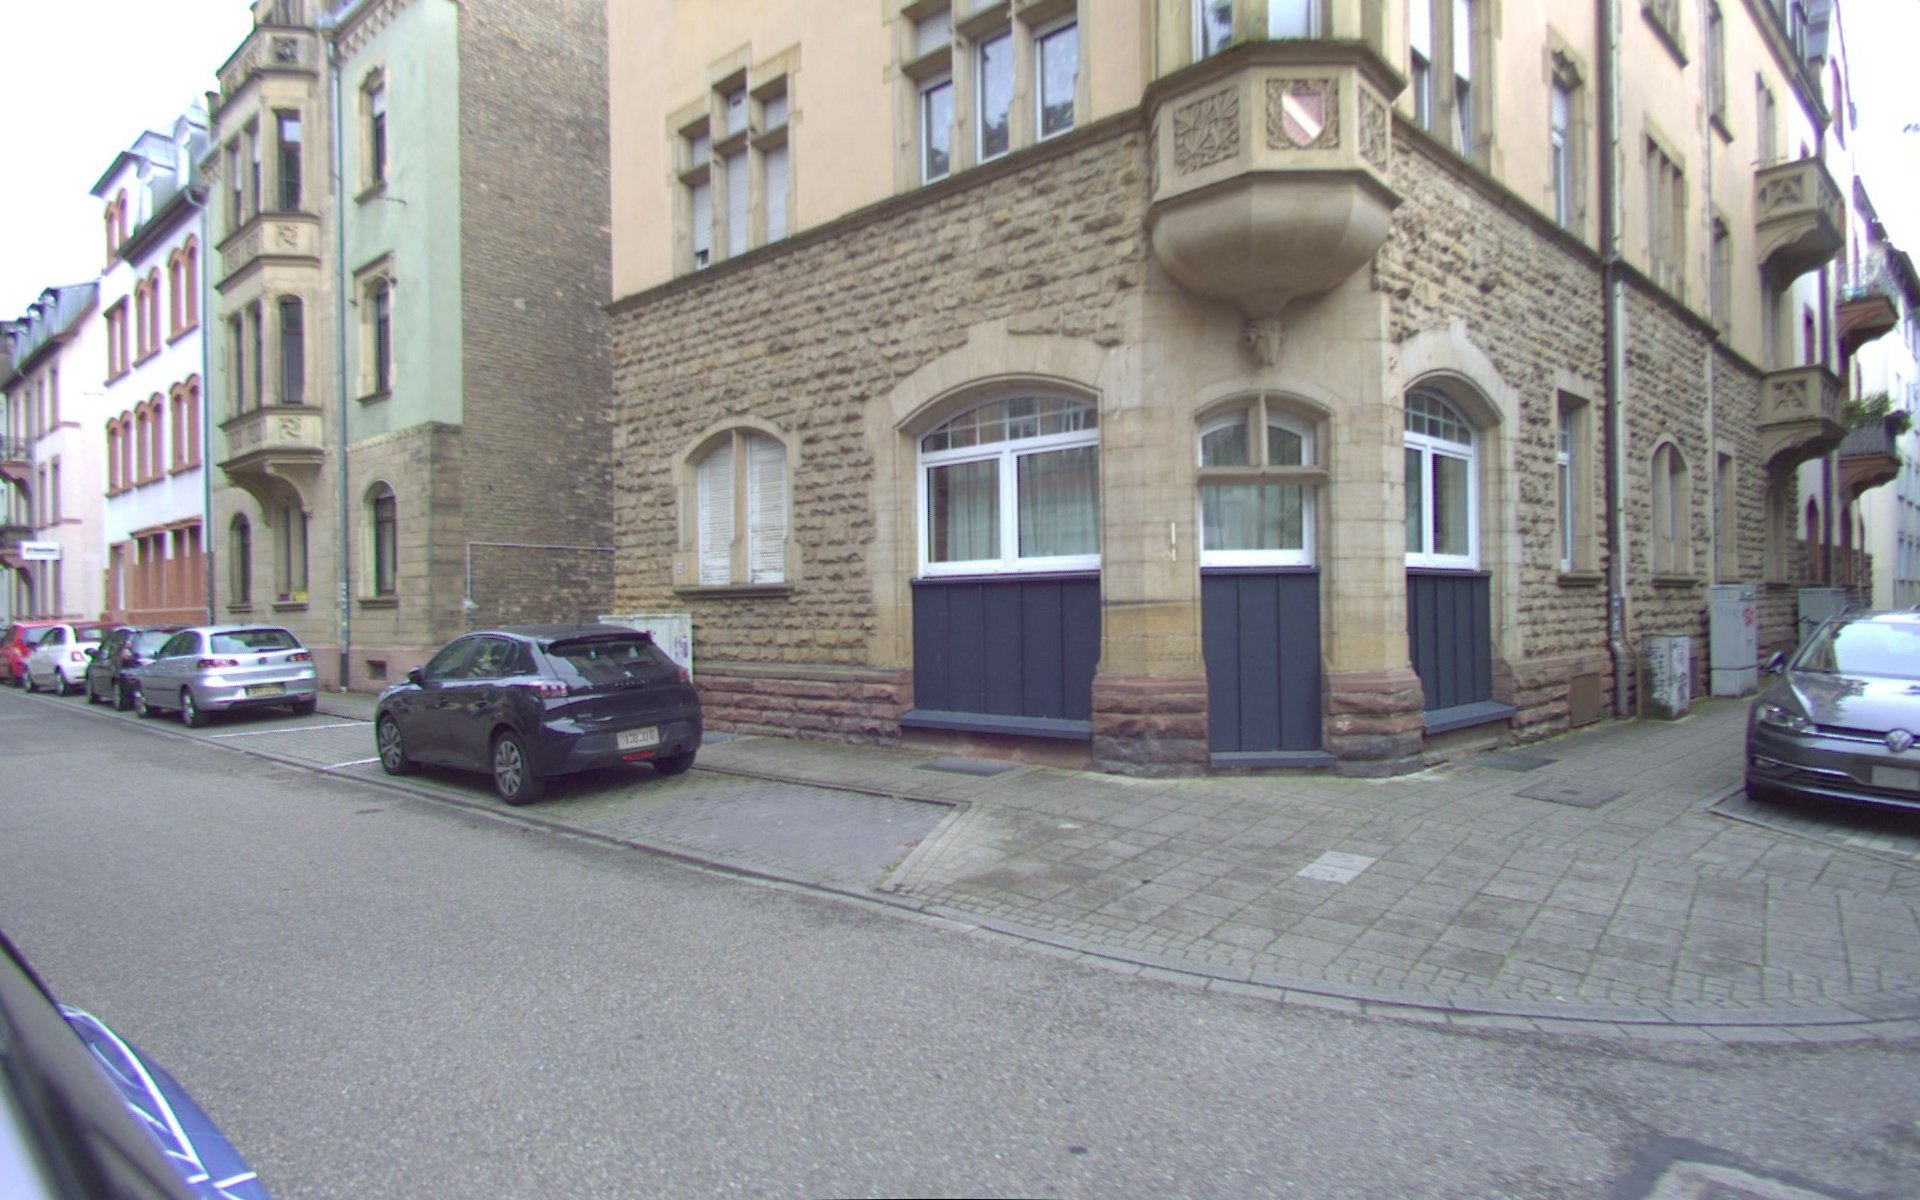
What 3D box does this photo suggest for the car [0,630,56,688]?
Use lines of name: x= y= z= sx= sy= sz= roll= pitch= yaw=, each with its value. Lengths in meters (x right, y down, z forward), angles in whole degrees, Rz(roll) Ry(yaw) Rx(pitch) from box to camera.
car: x=-25.996 y=1.592 z=27.576 sx=3.914 sy=1.427 sz=1.451 roll=-2 pitch=0 yaw=40

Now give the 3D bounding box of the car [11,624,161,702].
car: x=-19.041 y=1.325 z=22.012 sx=3.545 sy=1.522 sz=1.652 roll=-2 pitch=0 yaw=35

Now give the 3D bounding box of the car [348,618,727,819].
car: x=-4.105 y=0.960 z=9.571 sx=3.879 sy=1.445 sz=1.710 roll=-2 pitch=0 yaw=41

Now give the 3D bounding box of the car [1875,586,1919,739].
car: x=11.264 y=0.617 z=10.975 sx=4.222 sy=1.477 sz=1.664 roll=-1 pitch=3 yaw=-44

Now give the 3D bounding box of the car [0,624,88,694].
car: x=-22.786 y=1.413 z=24.872 sx=3.565 sy=1.541 sz=1.451 roll=-2 pitch=0 yaw=40

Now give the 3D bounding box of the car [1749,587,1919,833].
car: x=7.445 y=0.675 z=7.699 sx=4.222 sy=1.477 sz=1.664 roll=-1 pitch=3 yaw=-44

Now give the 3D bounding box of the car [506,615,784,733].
car: x=-4.920 y=1.068 z=16.221 sx=1.766 sy=1.576 sz=3.947 roll=-2 pitch=-1 yaw=39

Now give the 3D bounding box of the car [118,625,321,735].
car: x=-11.658 y=1.177 z=15.858 sx=3.804 sy=1.445 sz=1.574 roll=-2 pitch=0 yaw=38

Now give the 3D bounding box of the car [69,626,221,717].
car: x=-15.075 y=1.261 z=18.676 sx=3.452 sy=1.445 sz=1.502 roll=-2 pitch=0 yaw=40
